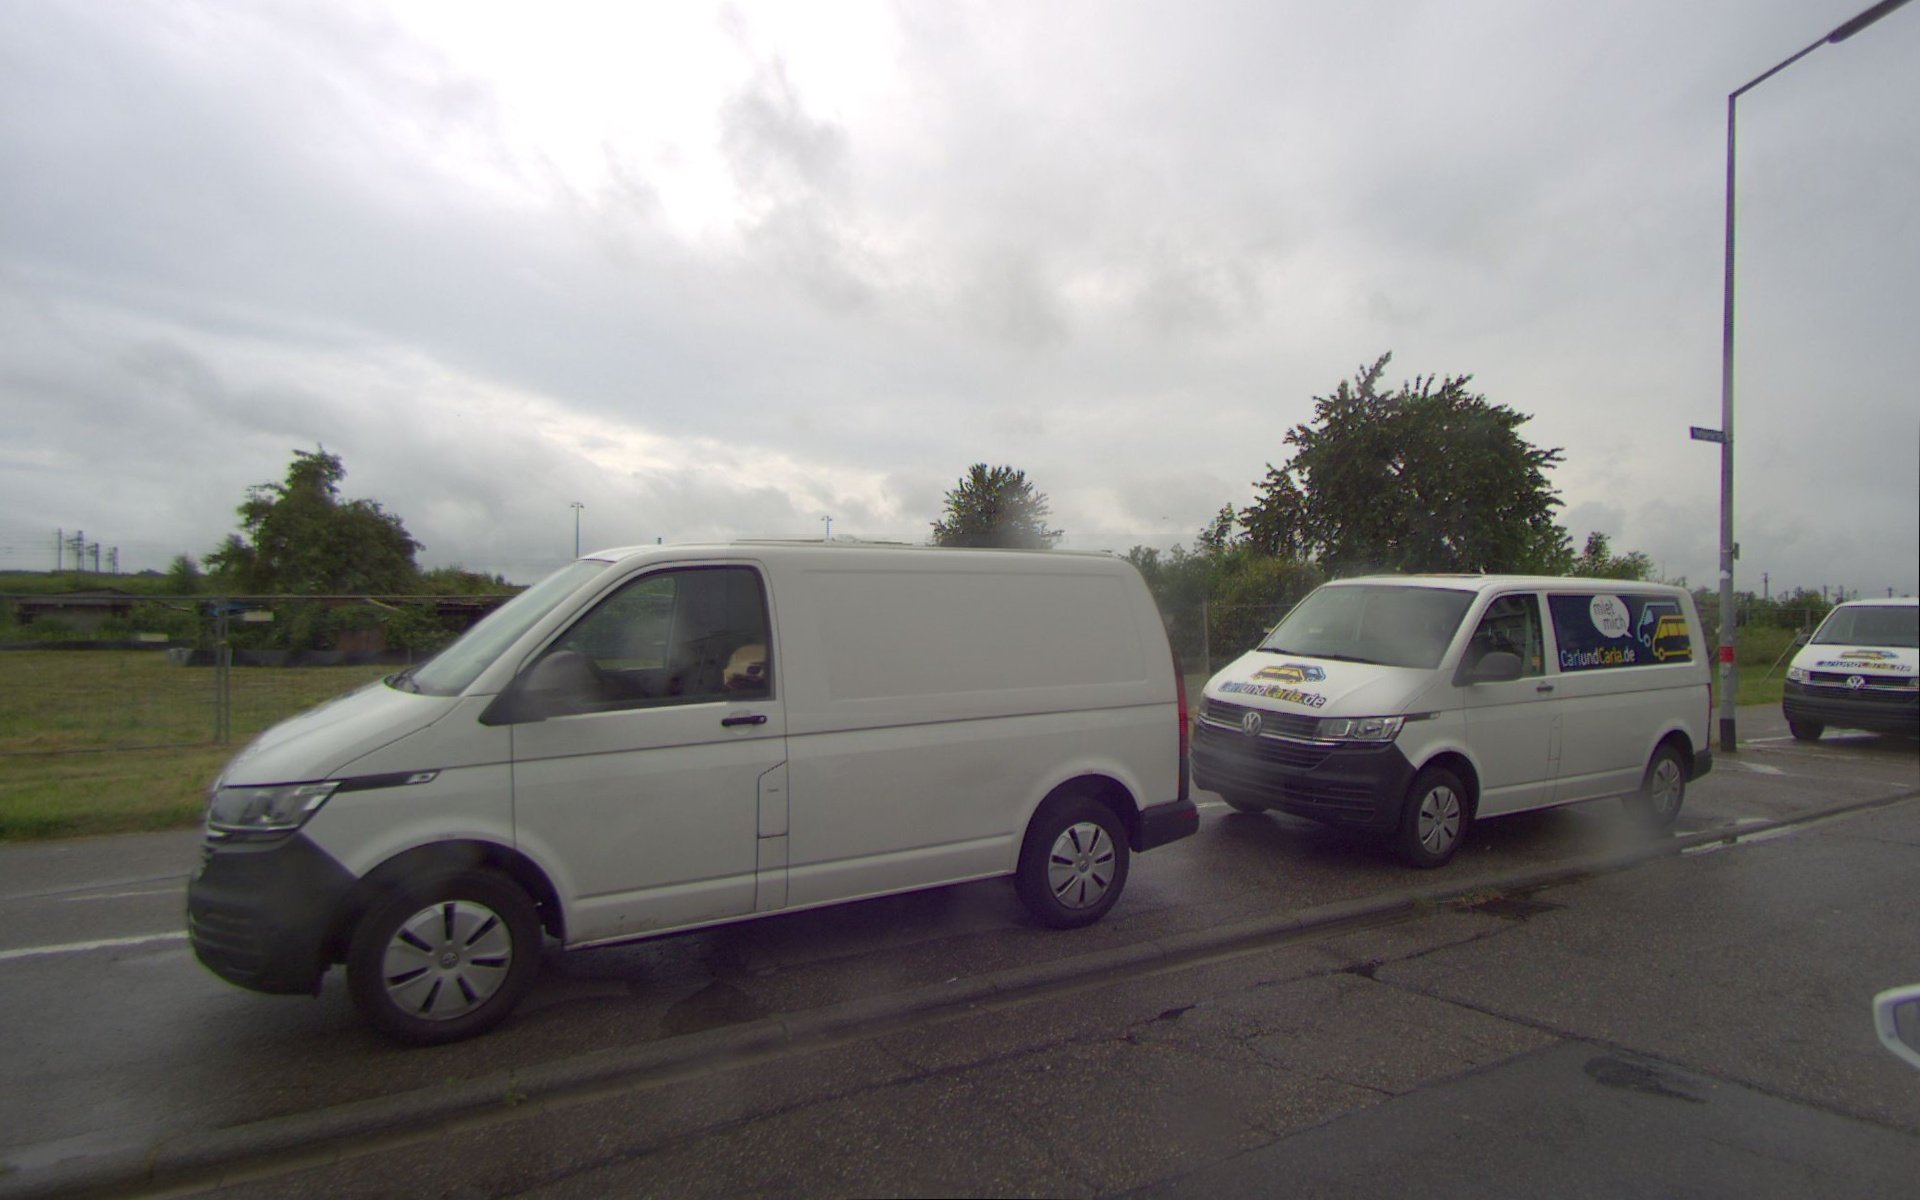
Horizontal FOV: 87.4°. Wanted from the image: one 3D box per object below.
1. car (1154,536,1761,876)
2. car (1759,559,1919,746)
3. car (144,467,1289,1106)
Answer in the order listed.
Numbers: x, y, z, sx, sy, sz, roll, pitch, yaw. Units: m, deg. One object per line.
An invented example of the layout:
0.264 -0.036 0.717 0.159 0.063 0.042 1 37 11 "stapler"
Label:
4.254 0.690 8.312 5.211 2.085 1.951 1 -1 -30 "car"
13.678 0.673 14.172 5.492 2.265 1.933 1 -1 -31 "car"
-0.808 0.641 5.344 5.195 2.040 1.886 1 -1 -30 "car"
